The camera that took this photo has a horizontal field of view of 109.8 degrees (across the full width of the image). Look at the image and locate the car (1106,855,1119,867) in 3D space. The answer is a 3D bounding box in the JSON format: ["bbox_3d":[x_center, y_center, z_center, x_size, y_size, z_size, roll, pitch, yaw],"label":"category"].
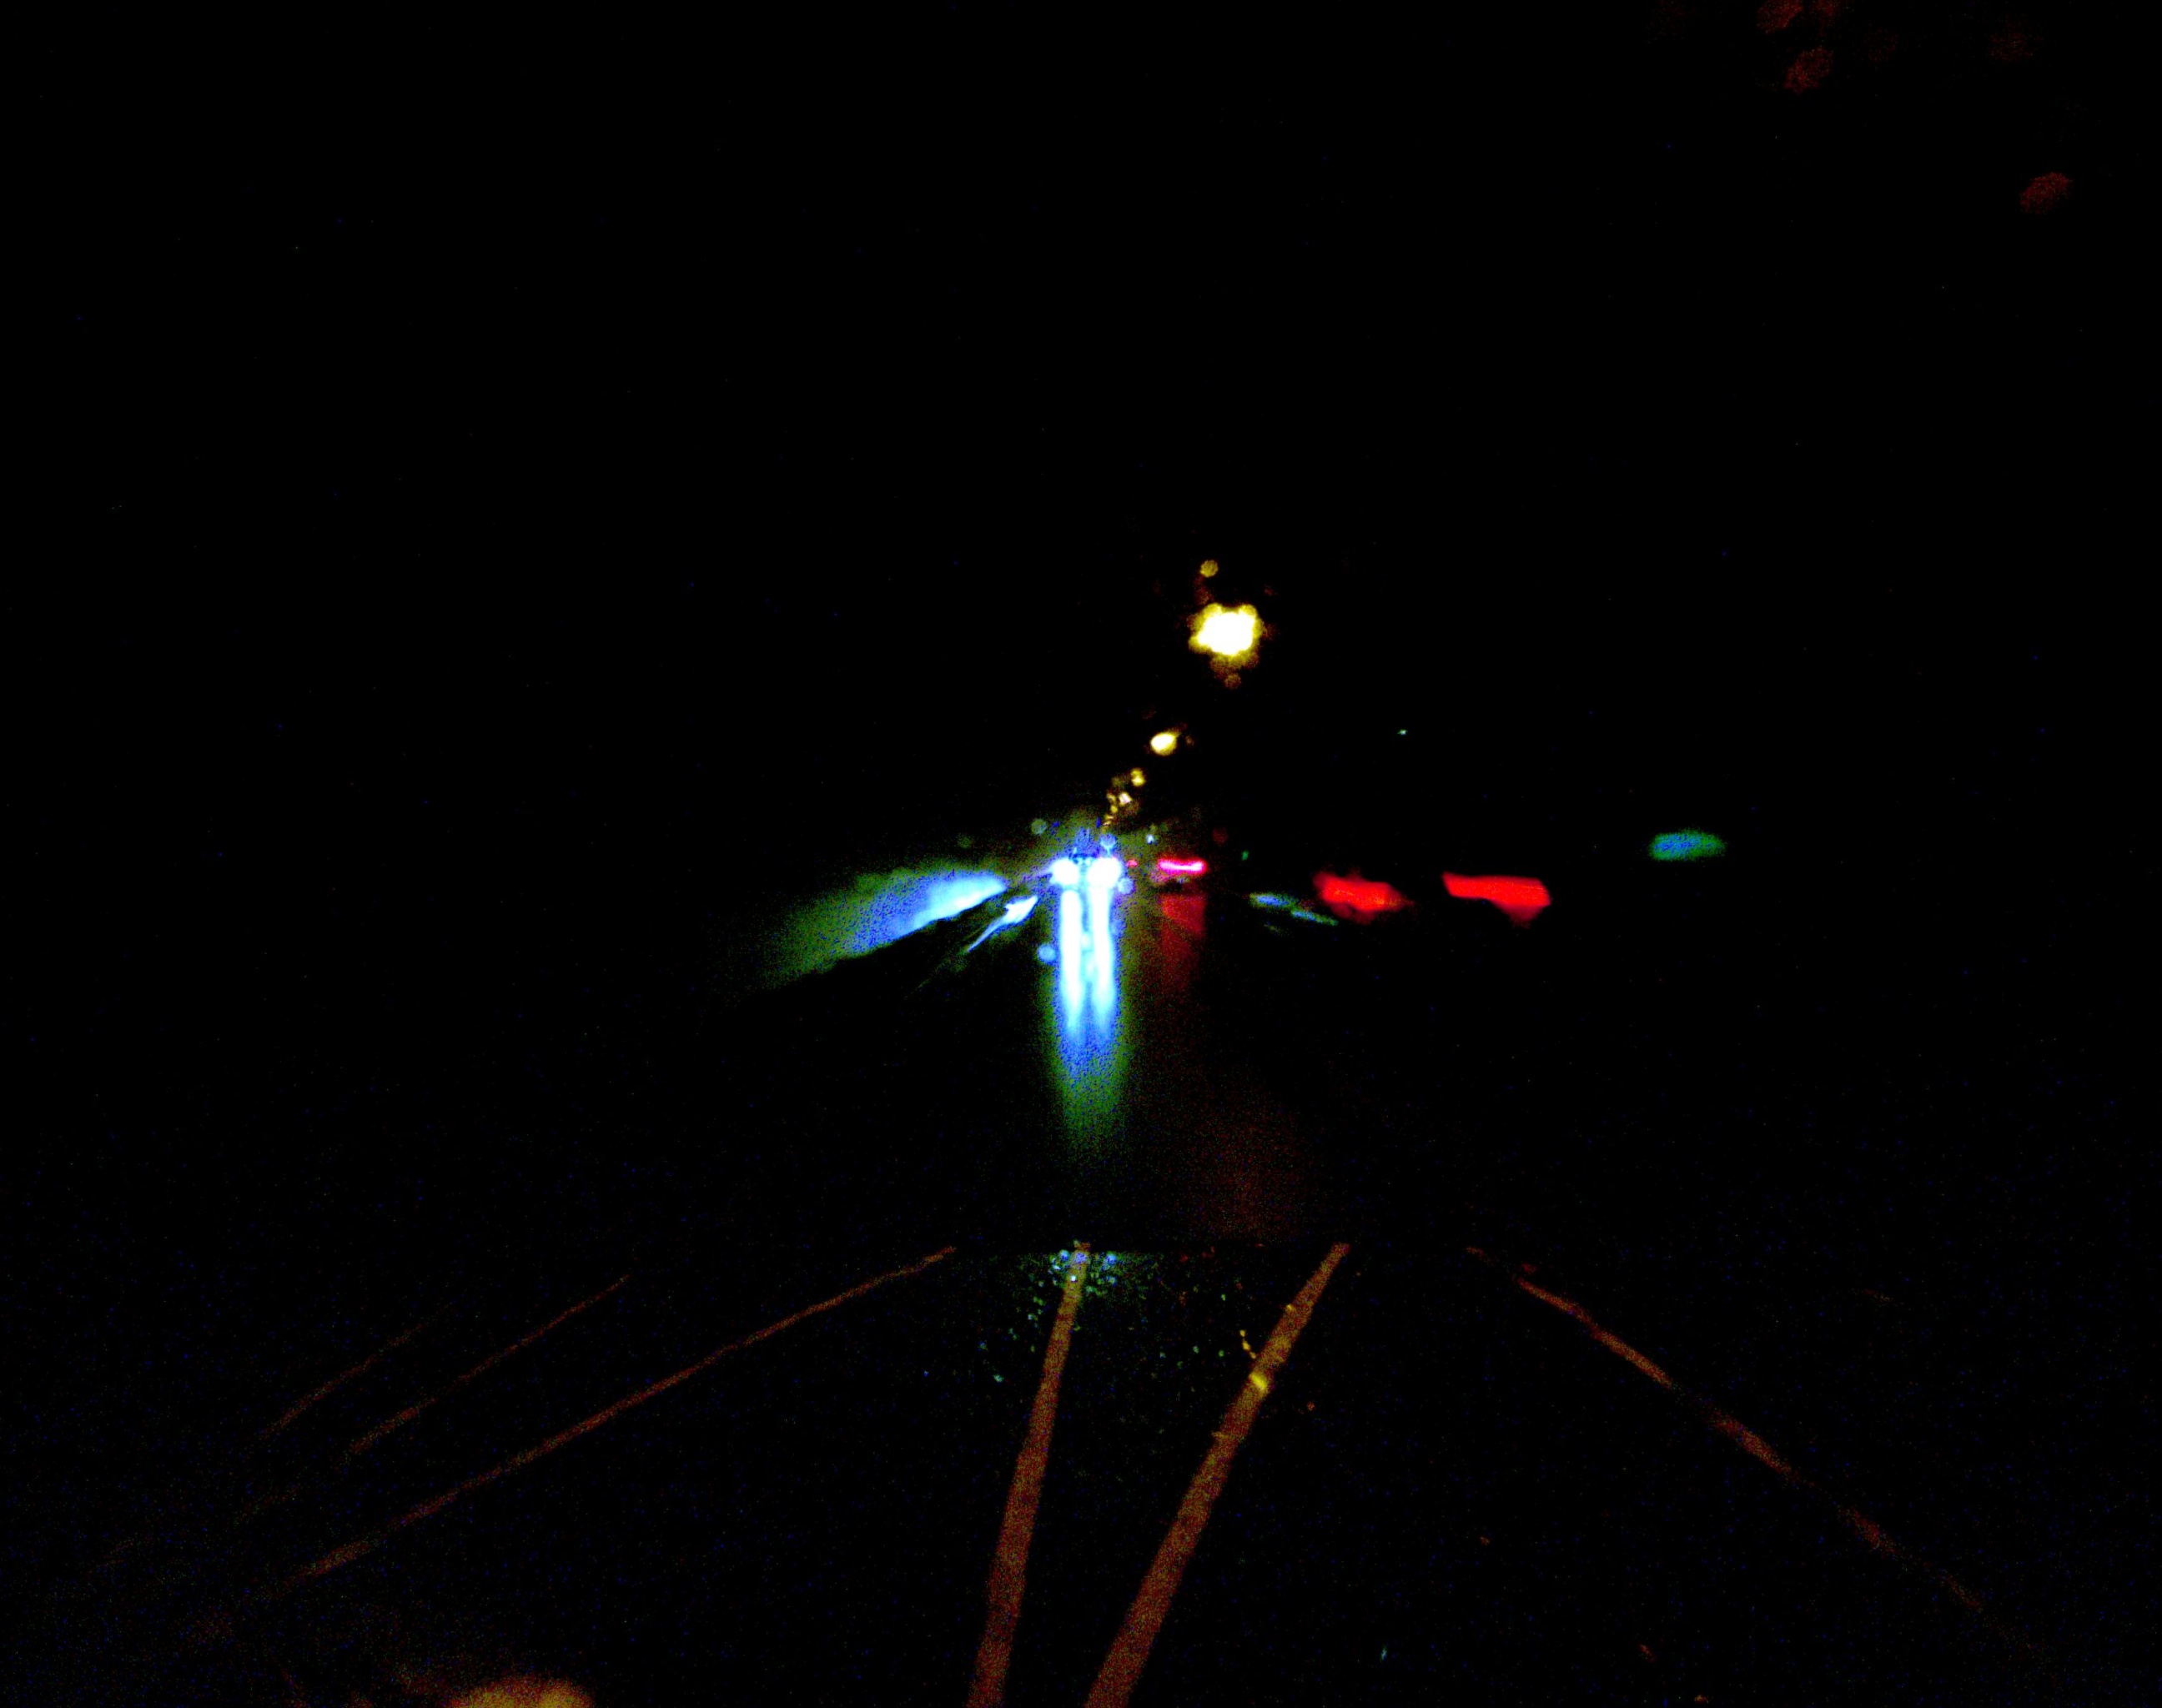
[{"bbox_3d":[4.456,0.935,106.648,1.639,1.618,4.145,-2,0,1],"label":"car"}]

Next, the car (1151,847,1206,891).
[{"bbox_3d":[4.083,0.587,32.519,1.785,1.666,4.561,-2,0,1],"label":"car"}]

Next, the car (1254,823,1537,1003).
[{"bbox_3d":[3.557,0.578,9.505,1.919,1.718,4.000,-2,0,1],"label":"car"}]

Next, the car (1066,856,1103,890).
[{"bbox_3d":[0.175,0.889,36.540,1.627,1.487,3.584,-2,0,1],"label":"car"}]

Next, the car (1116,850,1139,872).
[{"bbox_3d":[4.218,0.628,69.610,1.785,1.917,5.138,-2,0,1],"label":"car"}]
